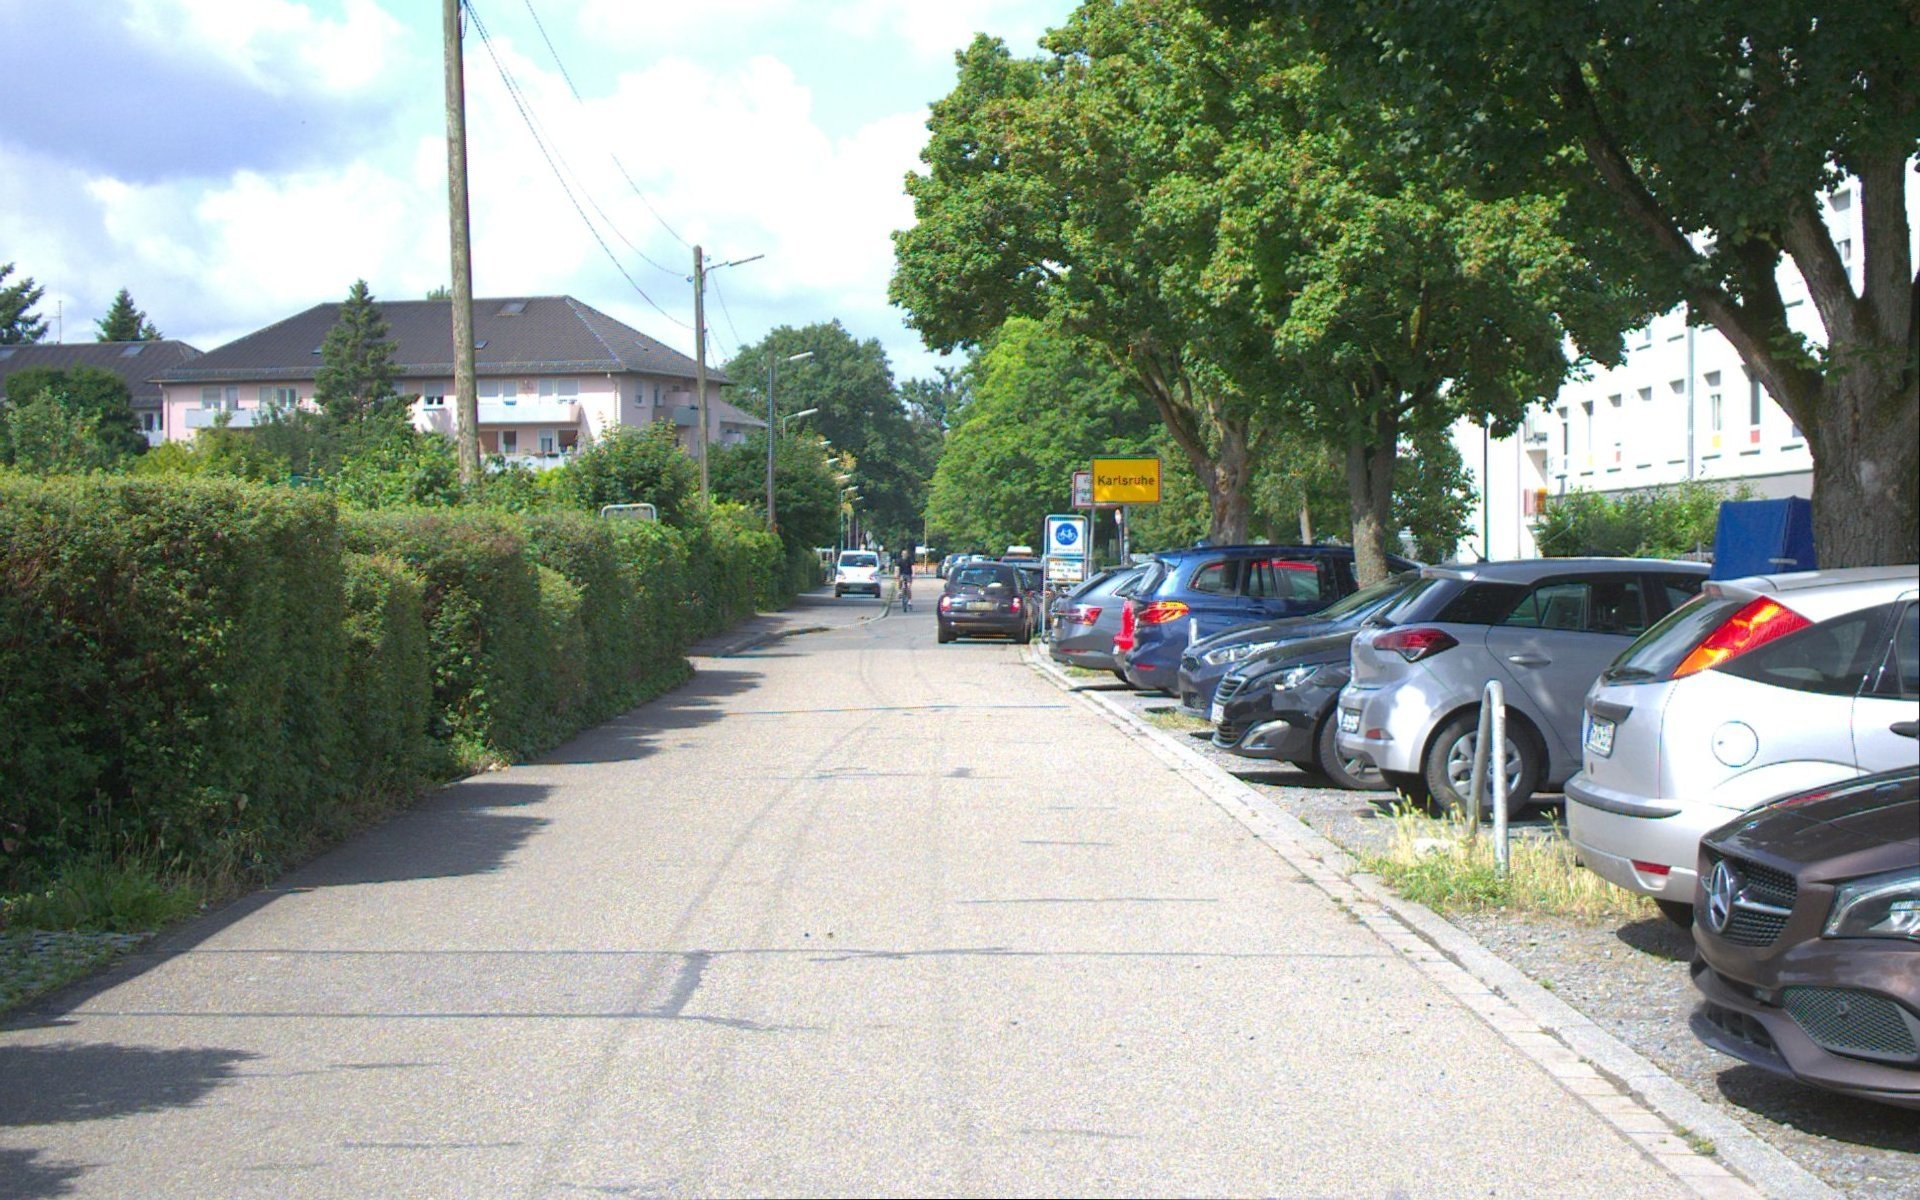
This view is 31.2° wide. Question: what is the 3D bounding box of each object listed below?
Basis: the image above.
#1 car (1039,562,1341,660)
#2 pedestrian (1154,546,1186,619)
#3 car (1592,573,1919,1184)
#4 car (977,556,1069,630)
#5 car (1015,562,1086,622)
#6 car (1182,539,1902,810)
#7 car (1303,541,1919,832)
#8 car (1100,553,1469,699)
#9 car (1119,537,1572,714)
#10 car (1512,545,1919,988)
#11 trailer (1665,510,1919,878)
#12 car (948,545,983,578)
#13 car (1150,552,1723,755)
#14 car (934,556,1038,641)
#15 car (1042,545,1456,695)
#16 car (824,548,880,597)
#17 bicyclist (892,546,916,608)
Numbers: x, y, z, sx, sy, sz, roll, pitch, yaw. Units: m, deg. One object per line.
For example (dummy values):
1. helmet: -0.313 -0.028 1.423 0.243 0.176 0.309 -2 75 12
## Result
1. car: 3.372 0.152 50.625 4.359 1.387 1.718 -1 0 3
2. pedestrian: 5.102 -0.424 83.446 0.610 1.739 0.721 2 0 13
3. car: 3.947 0.704 9.235 4.065 1.450 1.870 1 0 -3
4. car: 1.416 -0.156 76.010 1.664 1.547 3.636 1 0 6
5. car: 2.267 -0.215 86.702 1.663 1.430 3.542 1 0 0
6. car: 3.709 0.459 22.504 4.302 1.588 2.000 1 0 -1
7. car: 4.007 0.479 19.923 3.723 1.535 1.850 1 0 -4
8. car: 3.478 0.272 37.335 3.809 1.527 1.762 0 0 -1
9. car: 3.643 0.235 33.082 4.154 1.632 1.879 0 0 1
10. car: 4.244 0.605 12.843 4.065 1.506 1.958 1 0 2
11. trailer: 4.936 0.448 17.043 2.449 1.714 1.518 1 1 -4
12. car: 0.343 -2.375 212.465 1.993 2.007 4.000 1 0 -1
13. car: 3.813 0.415 28.074 4.335 1.487 1.976 1 0 -1
14. car: 0.520 -0.044 64.304 1.663 1.501 3.999 1 0 4
15. car: 3.289 0.220 39.743 4.548 1.573 1.809 1 0 -2
16. car: -4.153 -1.073 132.982 1.903 1.808 4.000 1 0 2
17. bicyclist: -1.690 -0.694 103.928 0.659 1.846 1.043 -1 0 2
